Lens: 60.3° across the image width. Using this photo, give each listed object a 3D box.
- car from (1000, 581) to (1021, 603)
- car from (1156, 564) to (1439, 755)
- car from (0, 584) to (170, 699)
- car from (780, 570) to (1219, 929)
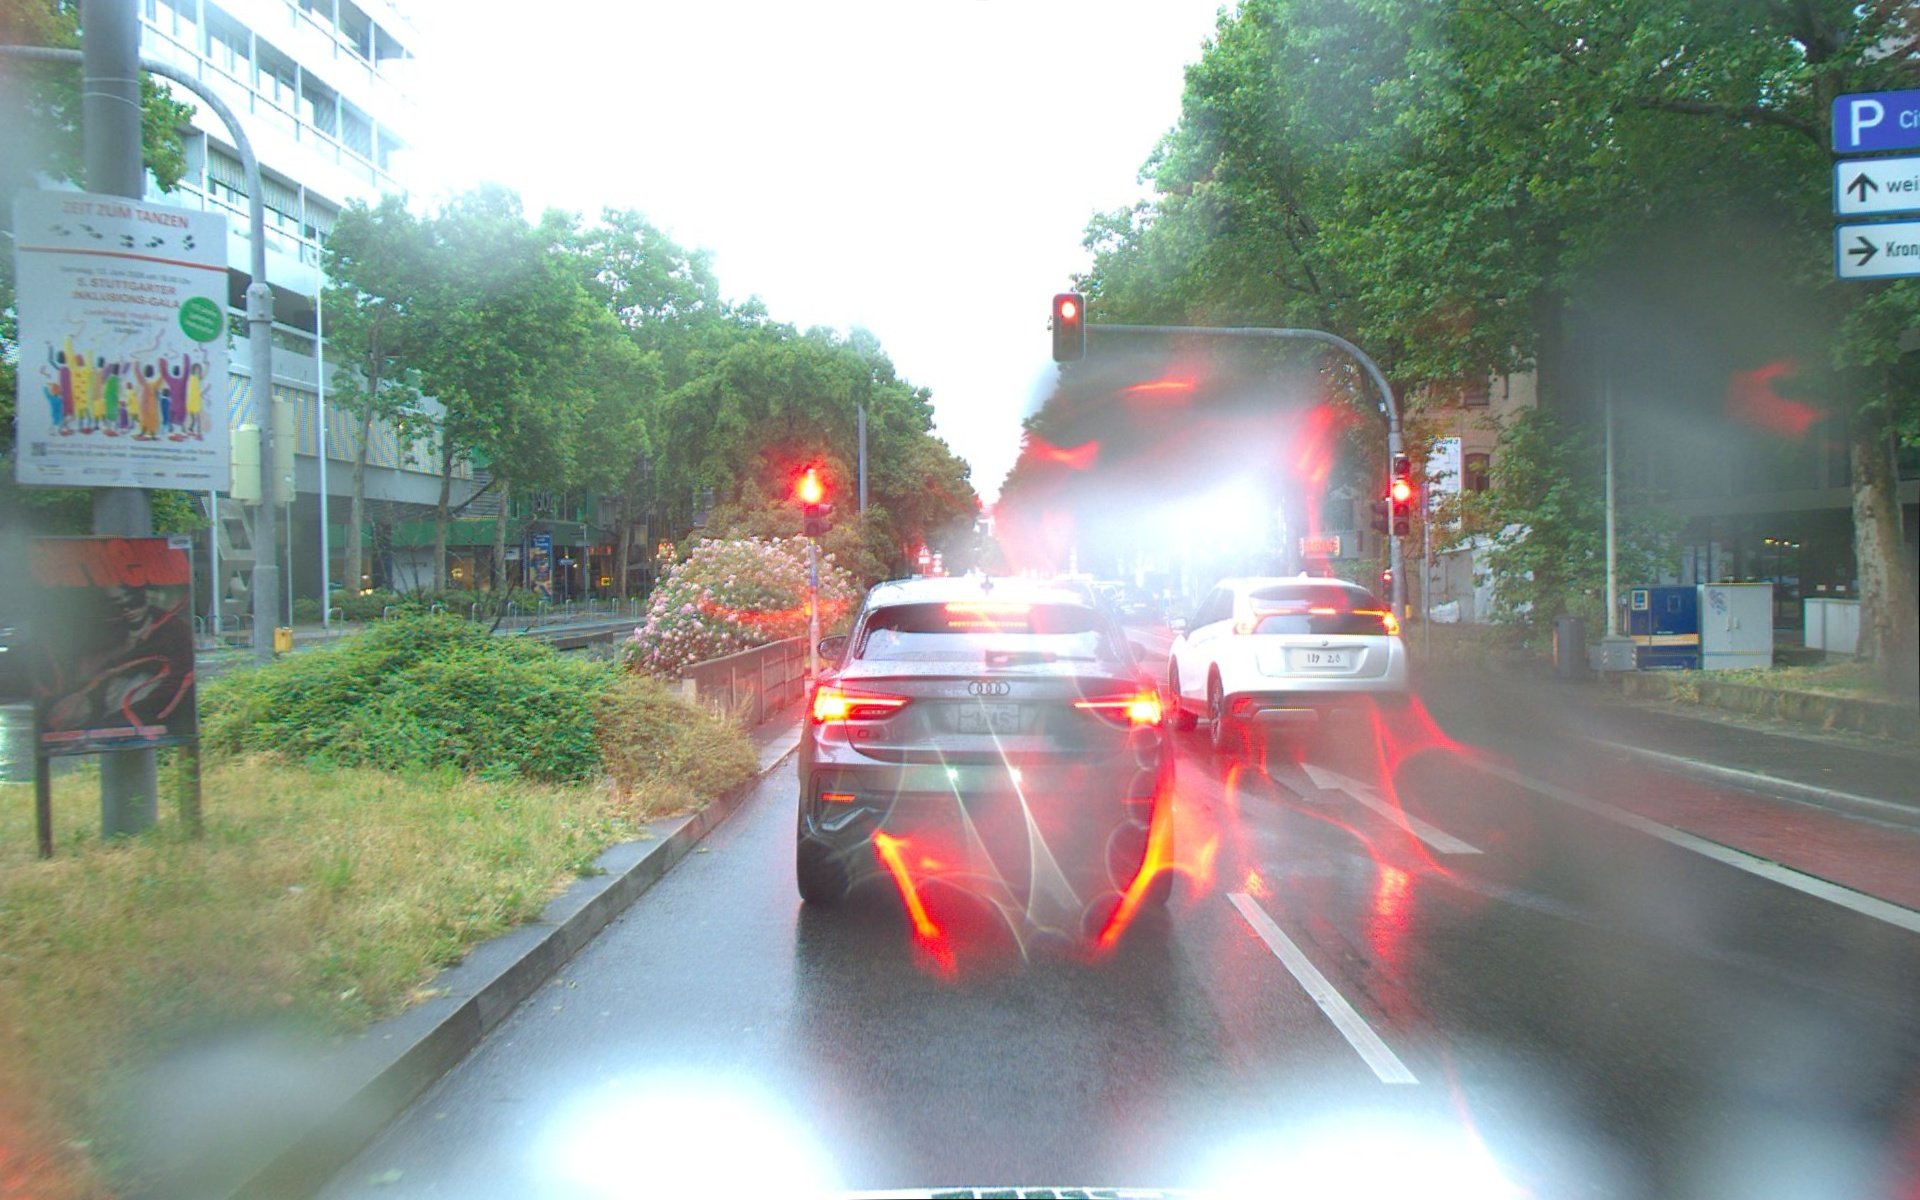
[{"bbox_3d":[3.985,-0.650,130.829,1.587,1.695,4.000,-1,1,0],"label":"car"},{"bbox_3d":[3.310,0.506,17.226,1.953,1.684,4.889,-1,1,0],"label":"car"},{"bbox_3d":[-13.858,0.553,24.863,1.791,1.579,4.191,0,1,2],"label":"car"},{"bbox_3d":[0.179,0.607,9.097,1.879,1.517,4.000,0,1,0],"label":"car"}]
